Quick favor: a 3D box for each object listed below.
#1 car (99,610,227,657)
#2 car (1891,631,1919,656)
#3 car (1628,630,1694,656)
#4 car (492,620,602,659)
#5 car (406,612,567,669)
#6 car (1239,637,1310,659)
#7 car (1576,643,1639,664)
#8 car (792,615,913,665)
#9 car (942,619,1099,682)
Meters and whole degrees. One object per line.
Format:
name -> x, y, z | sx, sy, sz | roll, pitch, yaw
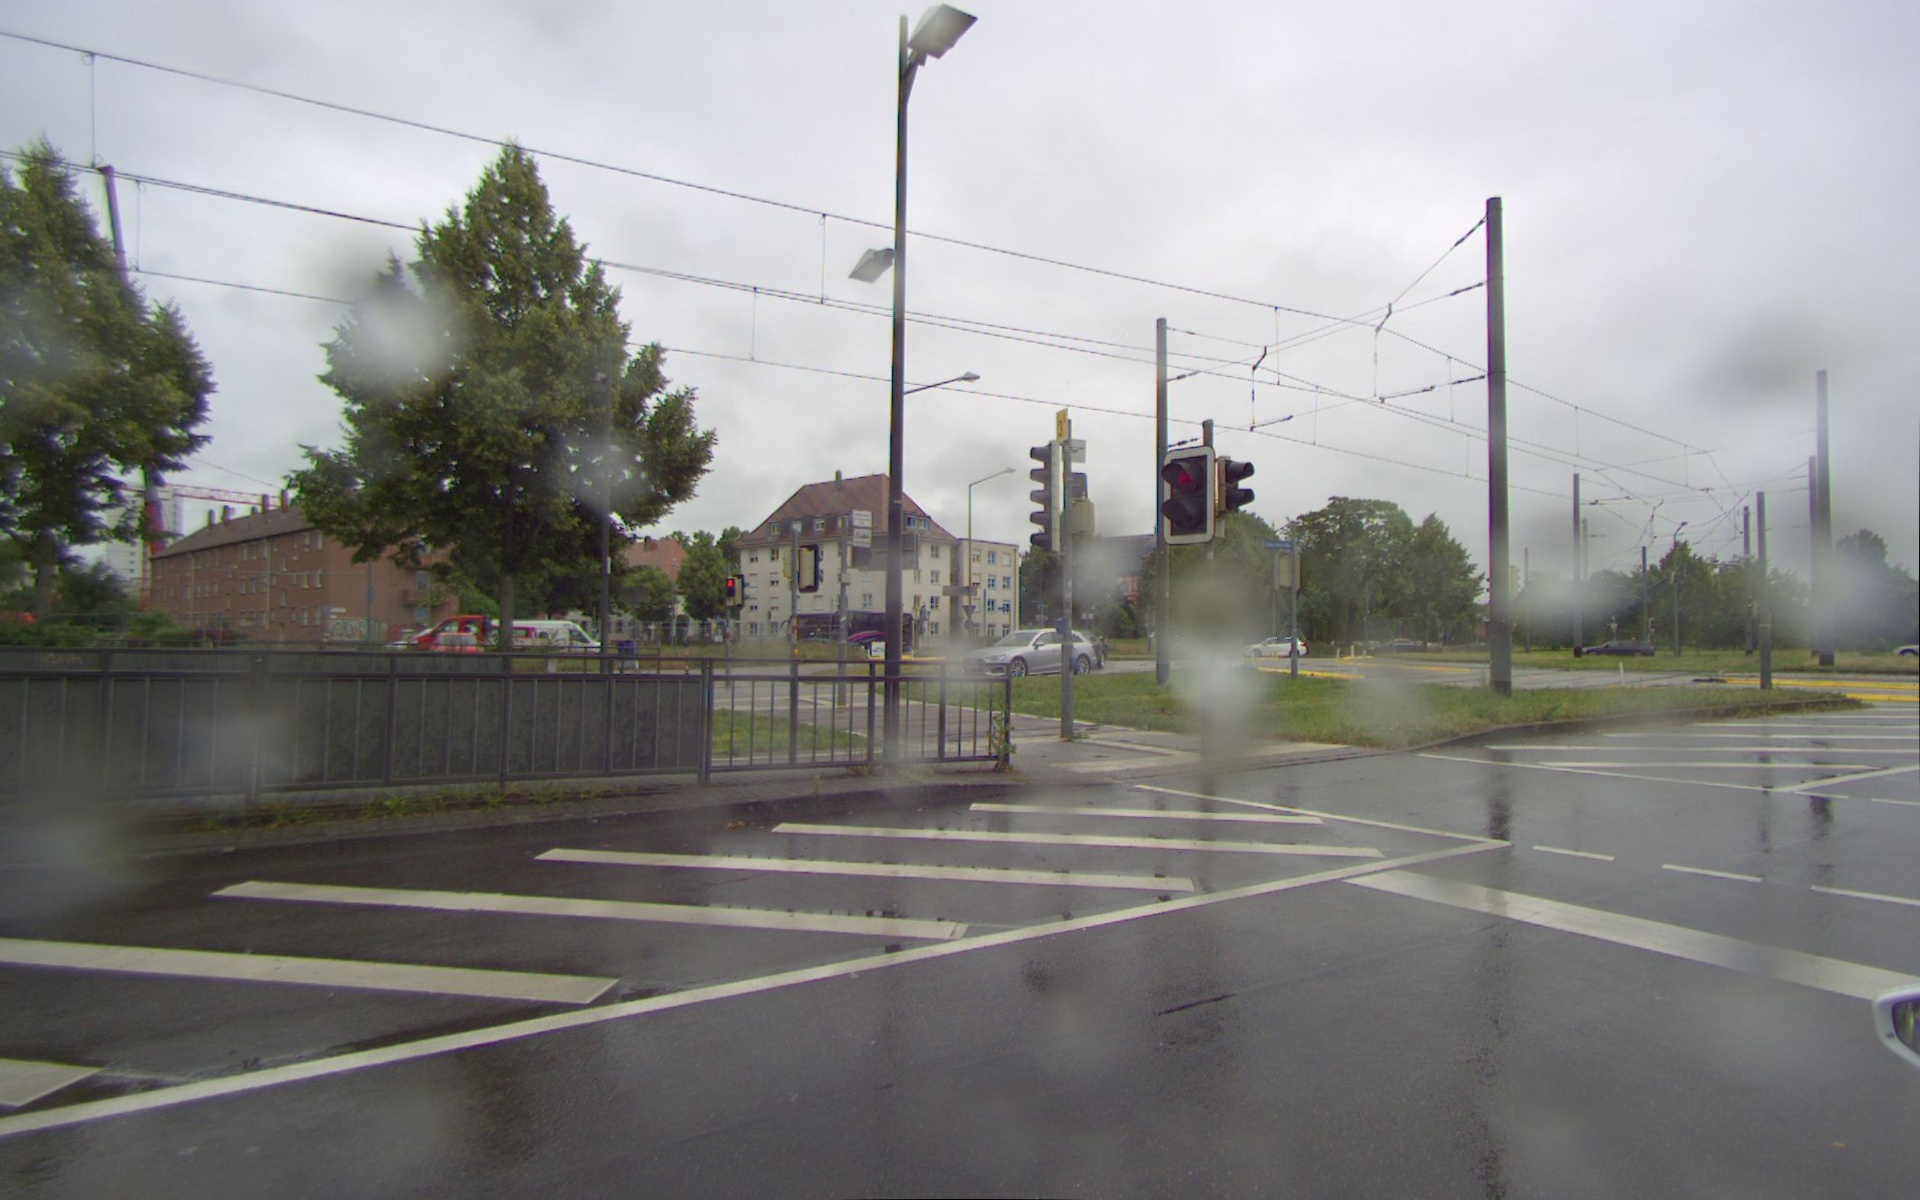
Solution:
car -> -44.527, 1.909, 56.306 | 5.441, 2.485, 1.980 | 2, 0, -36
car -> 58.421, 2.619, 59.974 | 1.612, 1.473, 4.061 | 2, -2, -43
car -> 55.012, 3.331, 78.864 | 3.921, 1.840, 1.681 | 2, 0, -1
car -> -24.683, 2.353, 60.270 | 6.004, 2.308, 1.617 | 1, -2, -18
car -> -21.293, 1.829, 45.499 | 6.389, 2.503, 1.616 | 1, -2, -20
car -> 22.008, 3.373, 70.401 | 4.530, 1.473, 1.624 | 0, -2, 3
car -> 48.971, 4.038, 76.063 | 3.917, 1.473, 1.620 | -1, -2, 30
car -> -8.771, 3.157, 80.985 | 10.783, 3.770, 2.449 | 0, -2, 36
car -> 1.759, 1.380, 28.370 | 4.371, 1.649, 1.975 | 2, -2, -42
